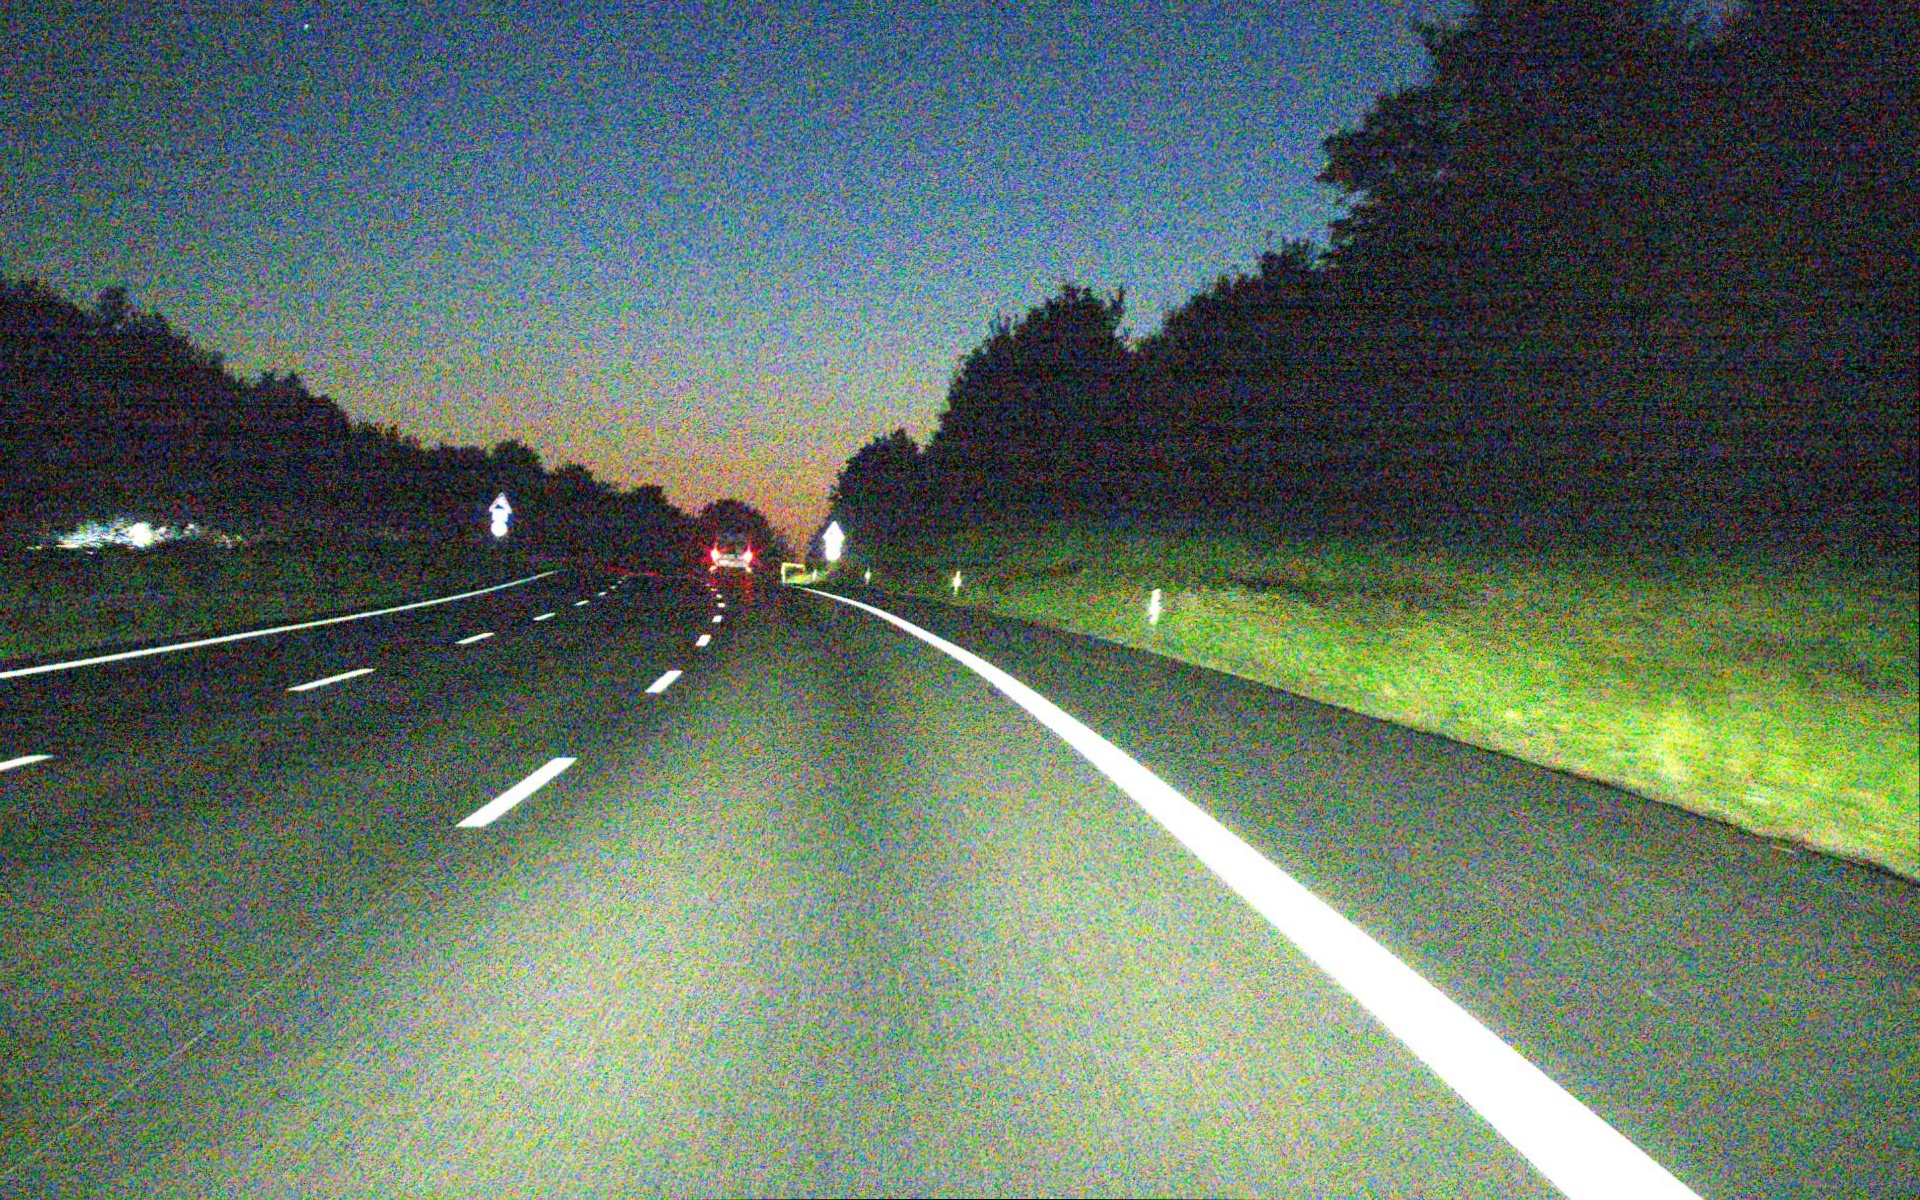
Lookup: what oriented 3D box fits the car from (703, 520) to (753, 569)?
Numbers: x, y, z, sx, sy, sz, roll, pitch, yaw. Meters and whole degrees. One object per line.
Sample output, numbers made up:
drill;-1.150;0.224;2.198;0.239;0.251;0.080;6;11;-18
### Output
car;-12.743;-3.042;189.210;2.527;2.544;6.052;3;0;-3
